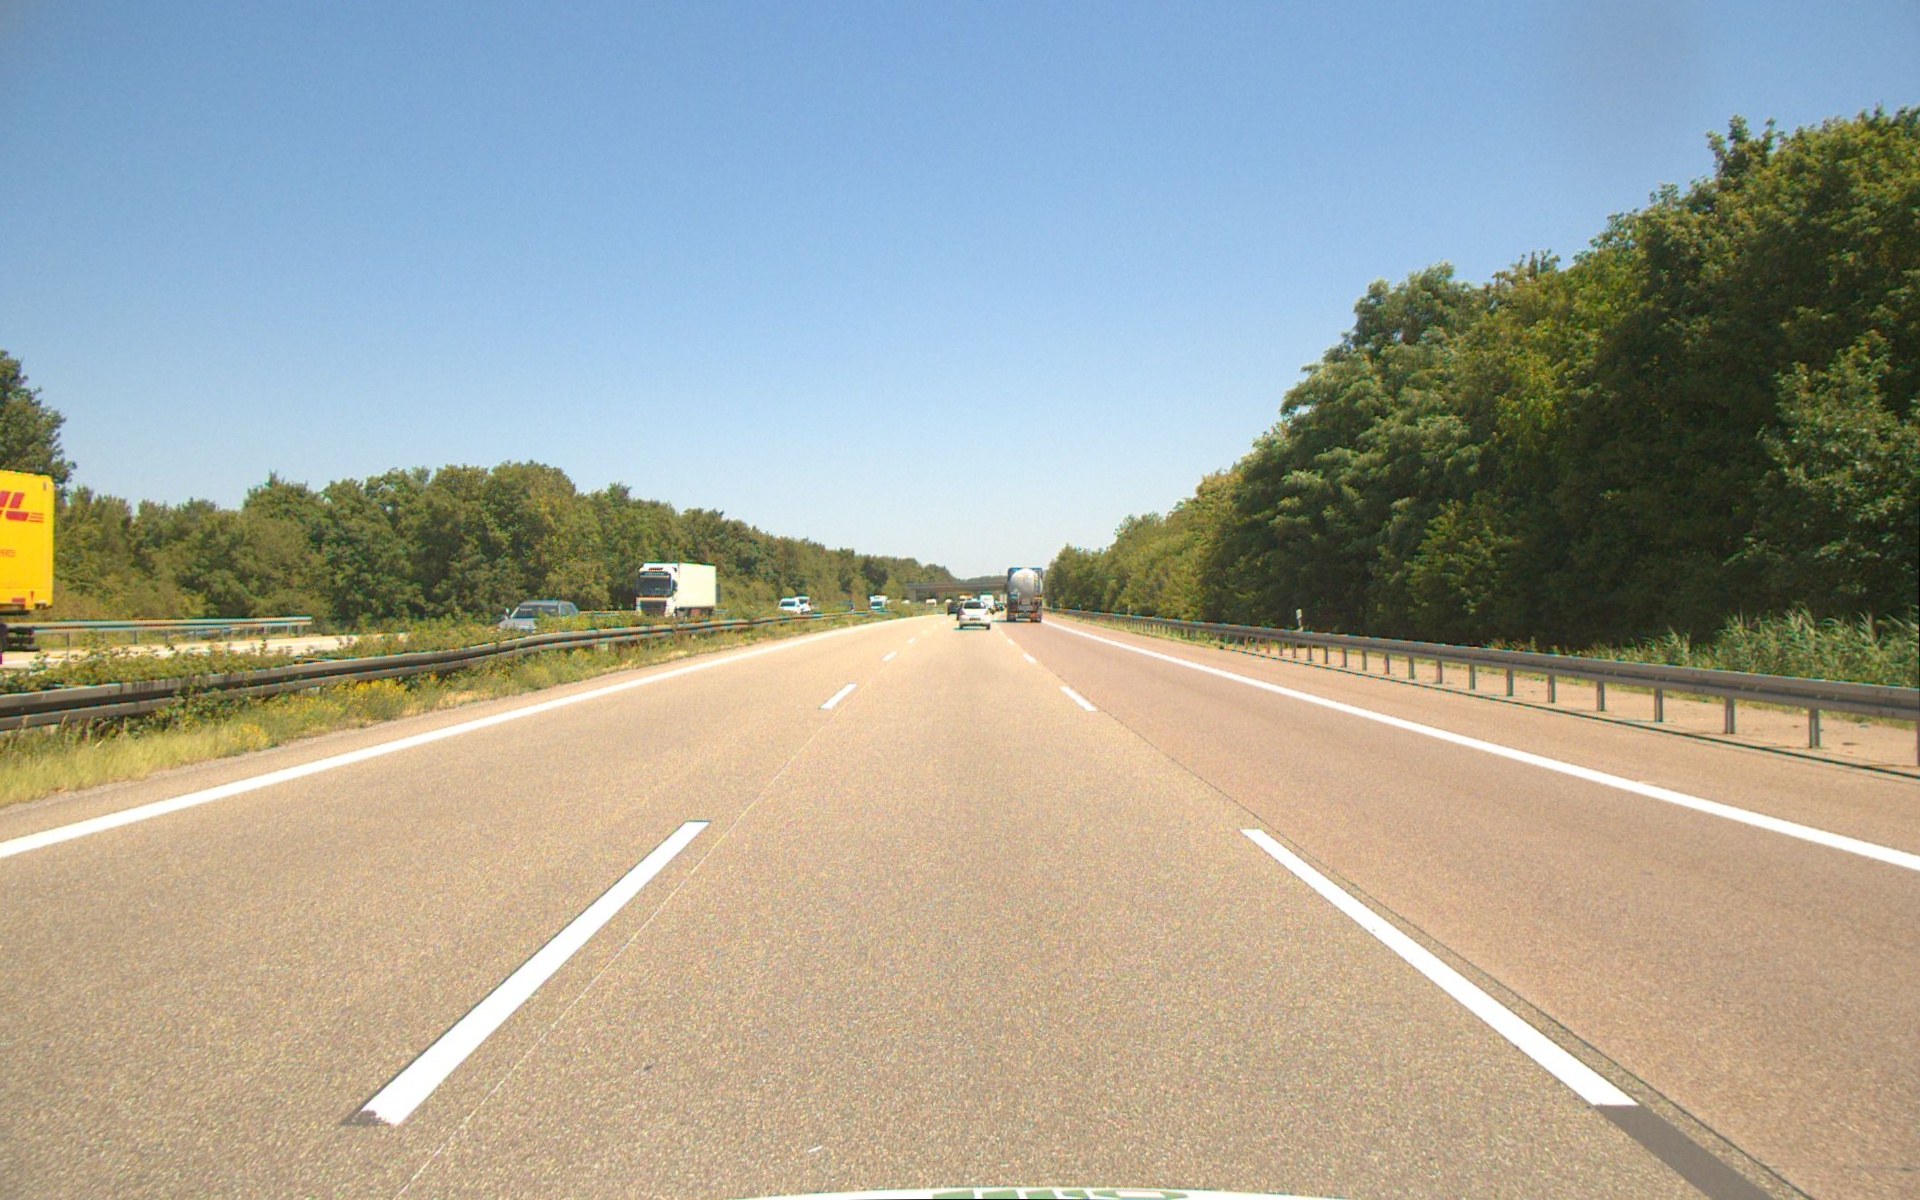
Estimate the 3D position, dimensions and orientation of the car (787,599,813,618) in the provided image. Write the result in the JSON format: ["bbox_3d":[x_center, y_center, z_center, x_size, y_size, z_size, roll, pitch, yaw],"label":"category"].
[{"bbox_3d":[-18.274,0.955,189.340,2.197,2.210,6.542,0,0,1],"label":"car"}]

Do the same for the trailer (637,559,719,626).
[{"bbox_3d":[-19.724,-0.498,116.749,3.243,4.438,13.589,0,0,1],"label":"trailer"}]

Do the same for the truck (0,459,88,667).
[{"bbox_3d":[-20.293,-0.773,30.536,2.693,4.111,10.790,1,-1,0],"label":"truck"}]

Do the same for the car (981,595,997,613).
[{"bbox_3d":[3.833,0.509,219.738,1.952,2.384,4.388,0,0,3],"label":"car"}]

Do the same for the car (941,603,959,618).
[{"bbox_3d":[-1.164,1.241,198.624,1.952,1.756,4.787,0,0,2],"label":"car"}]

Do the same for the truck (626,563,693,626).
[{"bbox_3d":[-19.866,-0.315,109.607,3.193,4.020,6.101,1,0,1],"label":"truck"}]

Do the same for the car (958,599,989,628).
[{"bbox_3d":[0.710,0.697,88.456,1.594,1.505,3.999,0,0,-1],"label":"car"}]

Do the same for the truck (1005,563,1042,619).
[{"bbox_3d":[4.804,-0.666,126.827,2.682,4.123,10.456,0,0,2],"label":"truck"}]

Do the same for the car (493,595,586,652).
[{"bbox_3d":[-12.309,0.652,48.627,1.746,1.598,3.980,0,0,-1],"label":"car"}]
